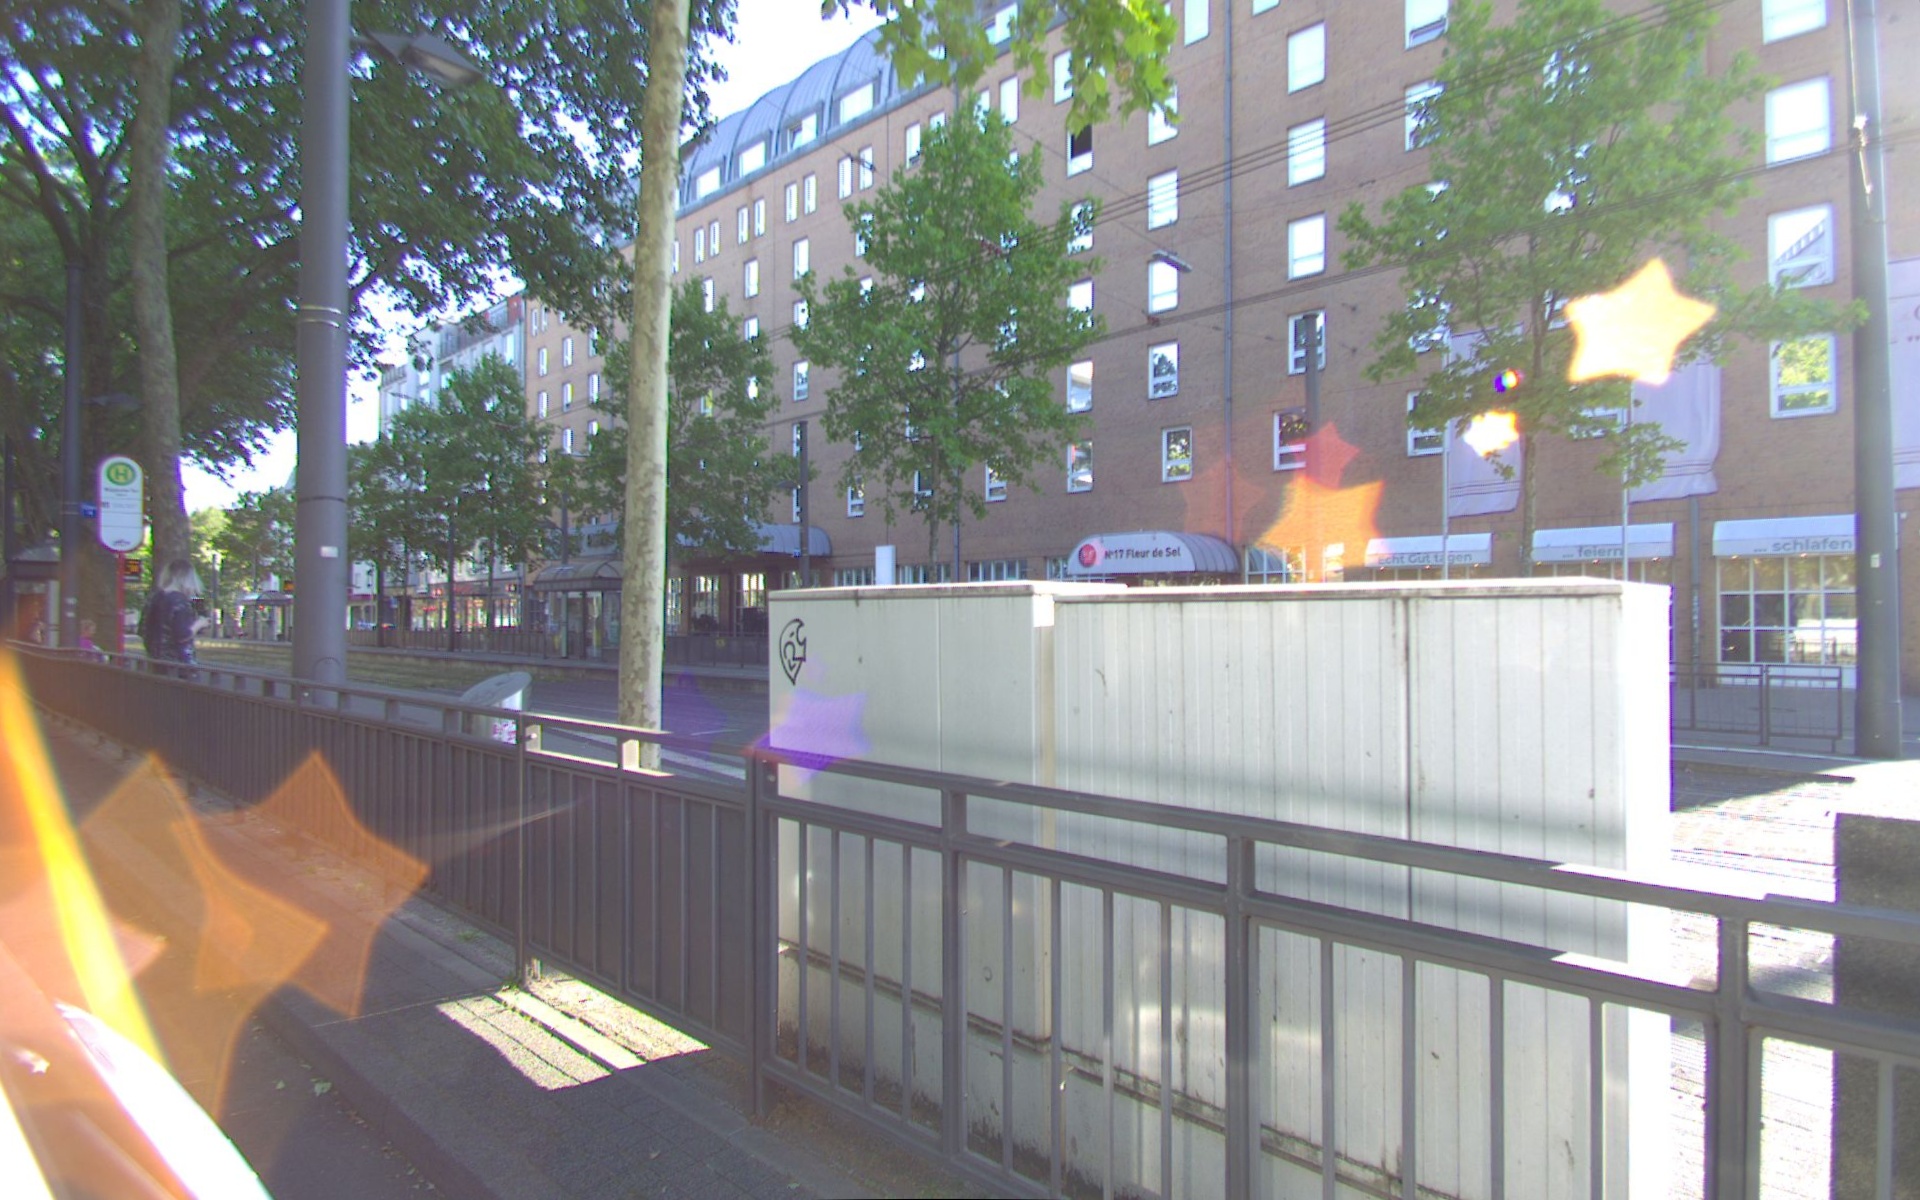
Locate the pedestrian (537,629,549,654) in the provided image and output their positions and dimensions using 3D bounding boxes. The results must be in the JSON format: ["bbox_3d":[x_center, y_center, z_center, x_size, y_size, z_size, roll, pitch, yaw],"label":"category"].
[{"bbox_3d":[-25.144,2.499,60.976,0.516,1.447,0.512,-2,-2,44],"label":"pedestrian"}]

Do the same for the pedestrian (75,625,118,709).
[{"bbox_3d":[-13.954,1.065,16.351,0.493,1.325,0.419,1,-2,-41],"label":"pedestrian"}]

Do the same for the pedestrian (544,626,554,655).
[{"bbox_3d":[-22.038,2.176,54.288,0.431,1.532,0.660,1,-2,-27],"label":"pedestrian"}]

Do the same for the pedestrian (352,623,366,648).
[{"bbox_3d":[-48.464,2.855,81.595,0.763,2.029,0.796,-2,-2,41],"label":"pedestrian"}]

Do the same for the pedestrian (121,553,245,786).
[{"bbox_3d":[-6.644,0.561,8.667,0.603,1.897,0.618,1,0,23],"label":"pedestrian"}]

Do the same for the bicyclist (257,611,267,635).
[{"bbox_3d":[-57.181,1.892,82.923,0.564,1.918,0.814,2,-2,-43],"label":"bicyclist"}]

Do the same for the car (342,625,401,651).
[{"bbox_3d":[-34.394,2.204,59.102,4.308,1.500,1.736,-1,-2,42],"label":"car"}]

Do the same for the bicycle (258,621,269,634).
[{"bbox_3d":[-57.134,2.274,82.985,0.444,1.012,1.754,2,-2,-44],"label":"bicycle"}]

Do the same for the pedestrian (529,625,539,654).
[{"bbox_3d":[-22.669,2.092,53.891,0.431,1.518,0.660,1,-2,-27],"label":"pedestrian"}]
